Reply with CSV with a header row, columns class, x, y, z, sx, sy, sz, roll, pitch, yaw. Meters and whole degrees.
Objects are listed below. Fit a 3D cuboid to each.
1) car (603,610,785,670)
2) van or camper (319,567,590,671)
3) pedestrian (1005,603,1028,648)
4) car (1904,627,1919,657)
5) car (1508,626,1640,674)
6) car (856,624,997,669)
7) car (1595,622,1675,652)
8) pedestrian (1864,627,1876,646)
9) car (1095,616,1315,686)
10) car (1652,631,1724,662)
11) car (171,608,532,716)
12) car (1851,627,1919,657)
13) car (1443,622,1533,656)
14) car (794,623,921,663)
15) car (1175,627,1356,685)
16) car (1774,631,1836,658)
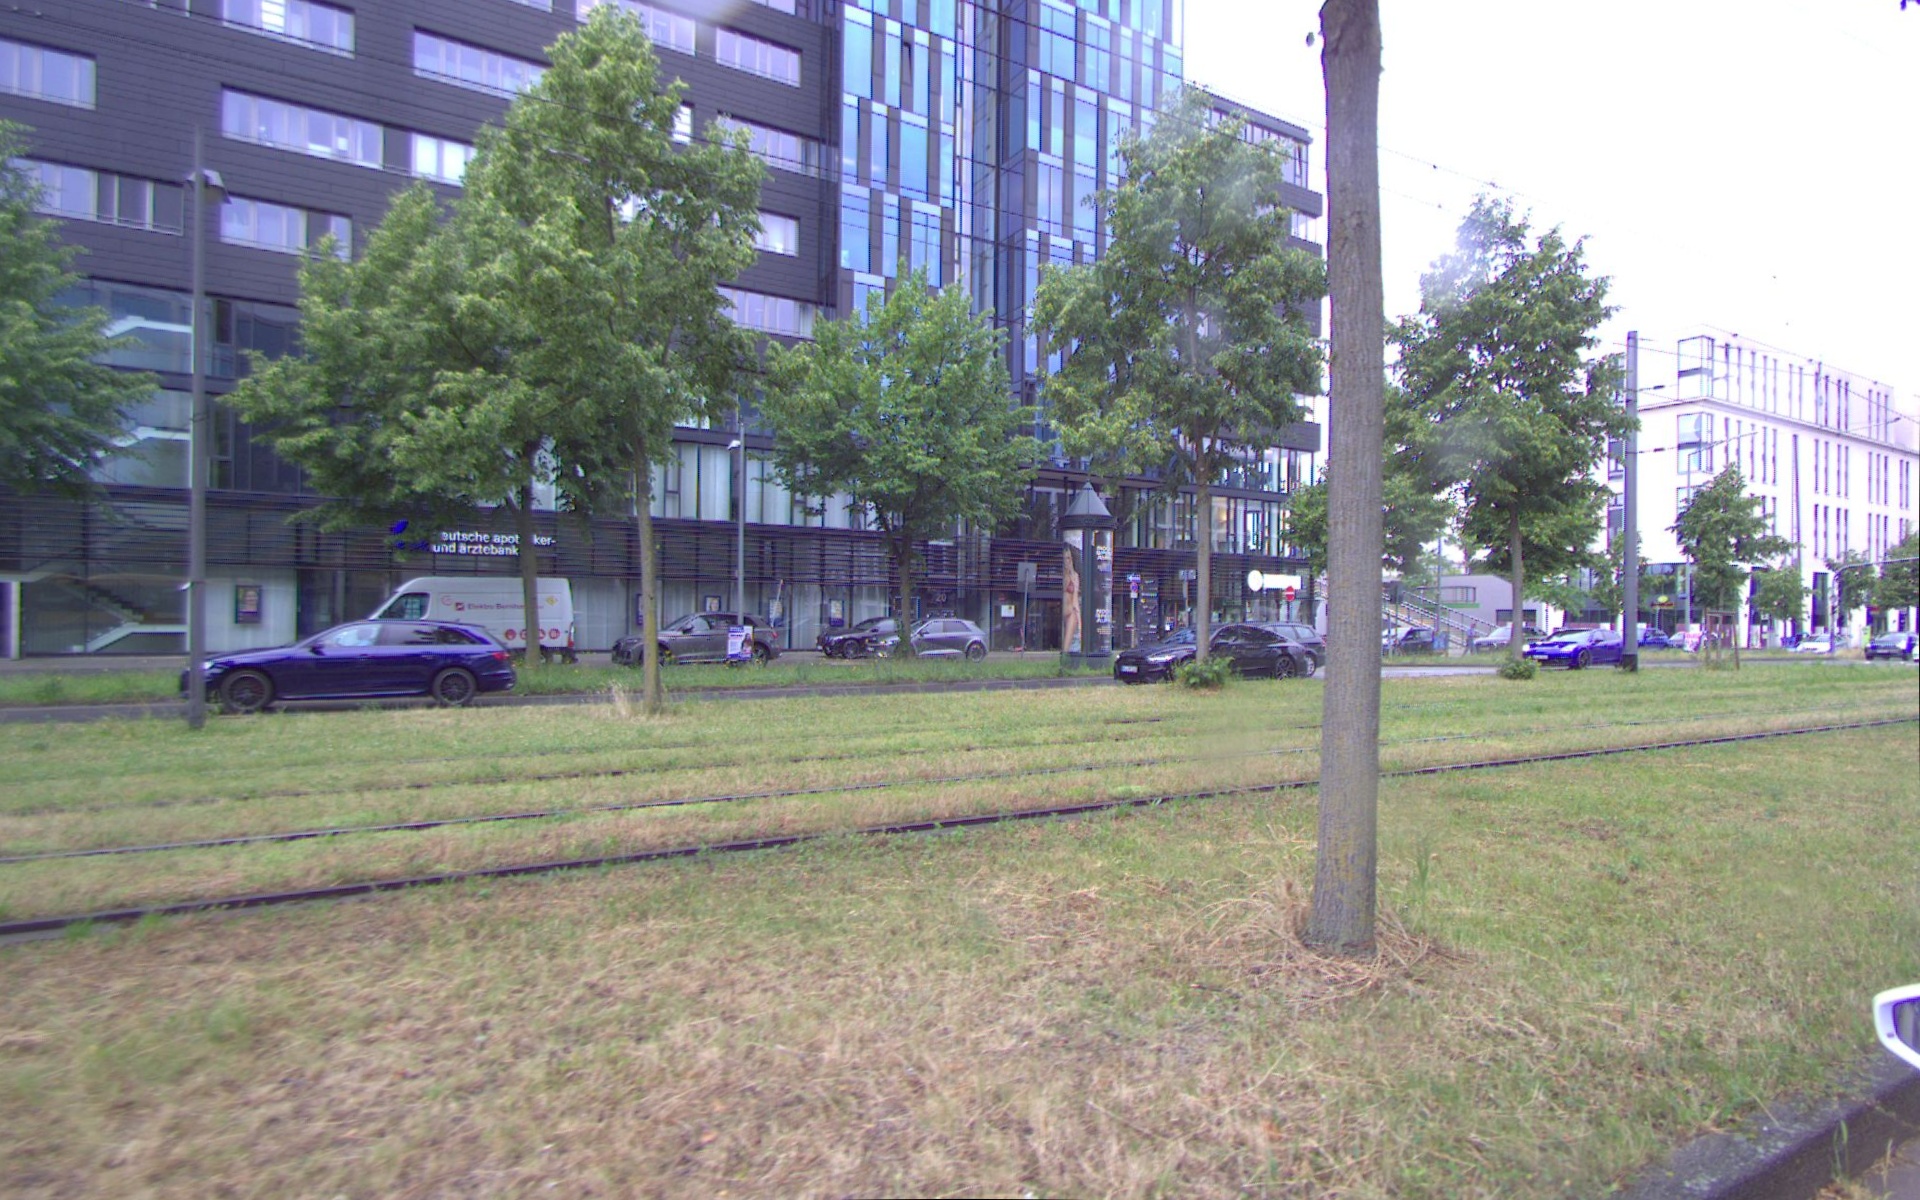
class,x,y,z,sx,sy,sz,roll,pitch,yaw
car,-7.386,1.084,28.050,4.555,1.542,1.983,1,-1,-32
van or camper,-12.482,0.485,25.078,5.782,2.346,2.421,1,-1,-30
pedestrian,2.583,1.145,46.144,0.783,2.040,0.699,1,0,-31
car,49.913,2.138,50.885,4.395,1.504,1.983,1,0,-31
car,21.798,1.736,35.614,4.955,1.542,1.983,1,-1,-32
car,-1.168,1.646,35.931,4.677,1.424,1.984,1,1,-30
car,36.553,1.993,54.371,4.397,1.504,1.982,1,0,-33
pedestrian,85.273,3.456,94.102,0.732,1.740,0.632,1,0,-28
car,5.566,1.105,22.656,4.817,1.398,1.983,2,0,-31
car,41.780,2.633,57.621,4.400,1.620,1.981,1,0,-35
car,-9.811,0.949,16.595,4.818,1.542,1.983,1,-1,-32
car,53.040,2.405,57.521,3.956,1.639,1.983,1,-1,-32
car,24.944,1.795,47.426,4.400,1.504,1.981,1,0,-35
car,-3.809,1.599,37.506,4.399,1.368,1.742,2,0,-32
car,8.297,1.469,27.163,4.817,1.398,1.983,1,0,-31
car,54.587,2.862,64.904,3.956,1.639,1.983,1,-1,-32
